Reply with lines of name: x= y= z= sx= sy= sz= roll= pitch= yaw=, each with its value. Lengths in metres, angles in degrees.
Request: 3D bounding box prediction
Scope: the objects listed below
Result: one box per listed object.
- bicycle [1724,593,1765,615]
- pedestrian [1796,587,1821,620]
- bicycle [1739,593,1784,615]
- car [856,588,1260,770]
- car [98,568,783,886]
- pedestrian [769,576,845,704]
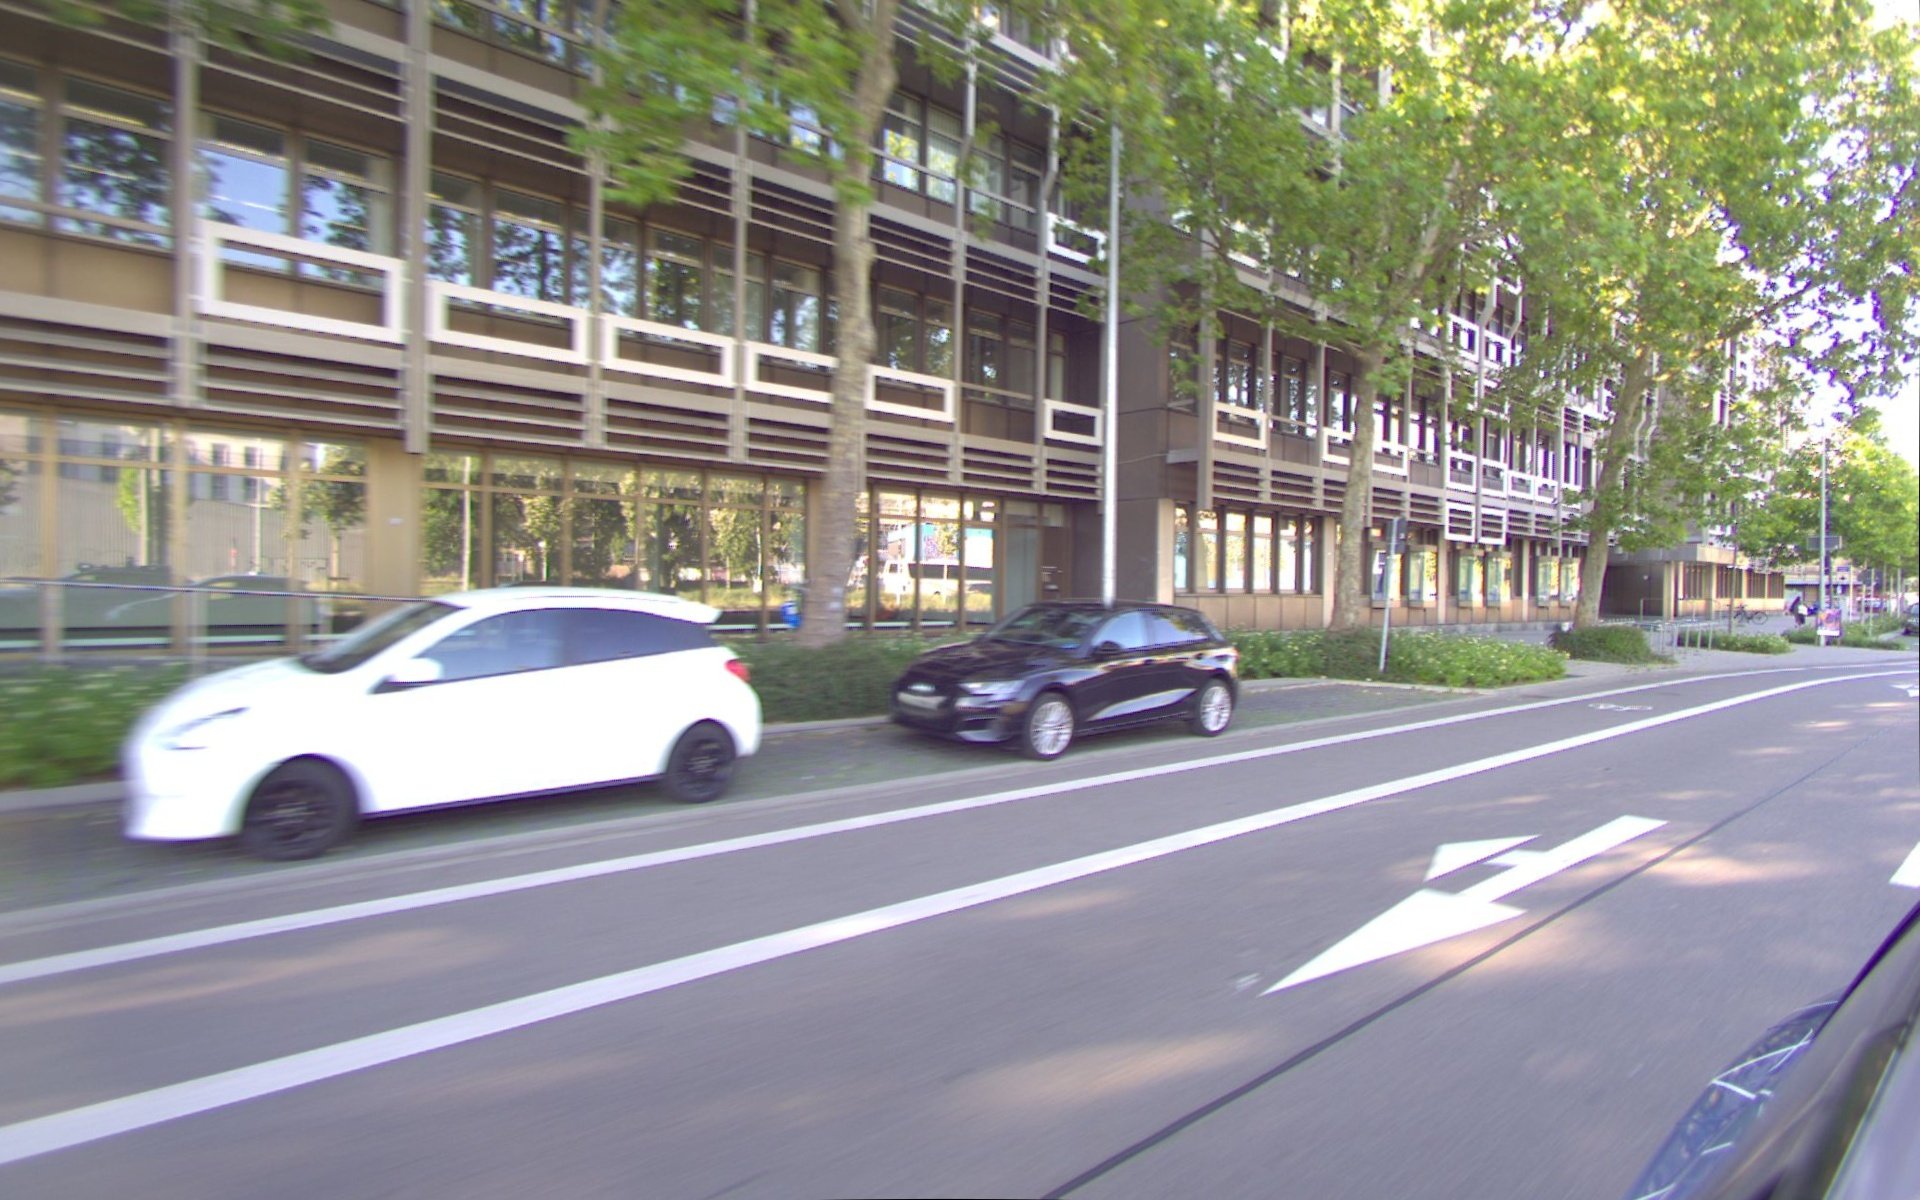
bicycle: x=41.809 y=0.213 z=53.952 sx=0.385 sy=1.095 sz=1.630 roll=0 pitch=2 yaw=-41
pedestrian: x=43.622 y=0.174 z=52.034 sx=1.117 sy=1.669 sz=0.790 roll=0 pitch=2 yaw=-43
bicycle: x=43.747 y=0.201 z=55.246 sx=1.899 sy=1.106 sz=0.386 roll=3 pitch=2 yaw=42
car: x=1.154 y=0.647 z=10.476 sx=4.201 sy=1.435 sz=1.710 roll=0 pitch=3 yaw=-41
car: x=-3.300 y=0.600 z=6.824 sx=3.806 sy=1.496 sz=1.685 roll=0 pitch=3 yaw=-41
pedestrian: x=-2.329 y=0.576 z=15.410 sx=0.832 sy=1.879 sz=0.833 roll=0 pitch=0 yaw=-42
